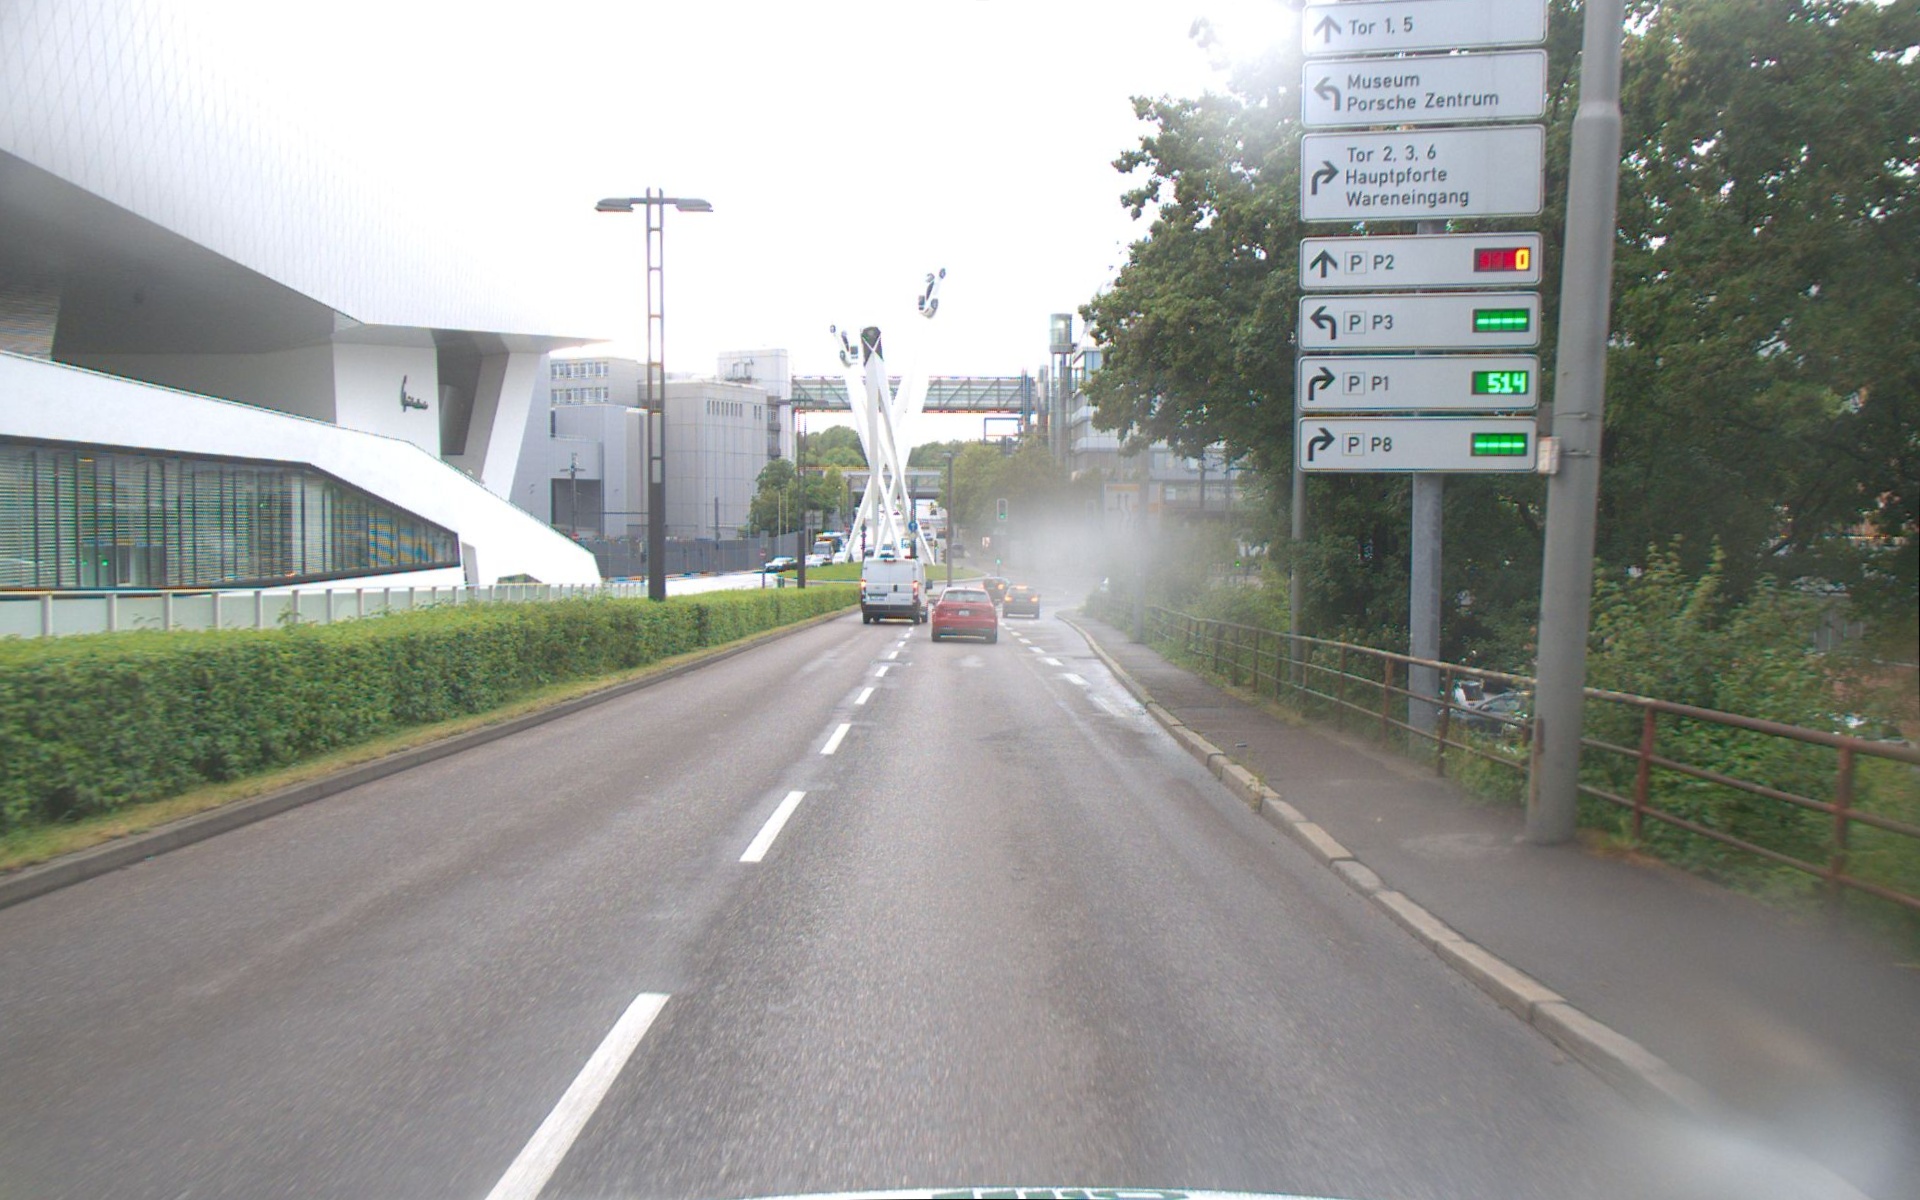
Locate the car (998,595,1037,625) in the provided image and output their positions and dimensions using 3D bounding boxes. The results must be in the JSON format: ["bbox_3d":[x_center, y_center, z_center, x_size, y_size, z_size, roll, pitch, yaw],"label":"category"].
[{"bbox_3d":[2.580,0.425,74.953,1.577,1.313,3.566,1,0,-1],"label":"car"}]

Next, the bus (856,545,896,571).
[{"bbox_3d":[-11.161,-5.592,221.096,2.612,3.256,12.681,1,1,10],"label":"bus"}]

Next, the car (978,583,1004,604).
[{"bbox_3d":[1.931,-0.424,104.871,1.525,1.310,3.413,1,0,-1],"label":"car"}]

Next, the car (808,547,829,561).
[{"bbox_3d":[-15.730,-5.088,184.101,1.795,1.498,4.515,1,1,1],"label":"car"}]

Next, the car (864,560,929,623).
[{"bbox_3d":[-2.212,-0.281,59.040,2.187,2.144,4.953,1,0,-1],"label":"car"}]

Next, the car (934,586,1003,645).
[{"bbox_3d":[0.203,0.396,44.082,1.736,1.490,3.732,1,0,-1],"label":"car"}]

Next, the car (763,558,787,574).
[{"bbox_3d":[-18.355,-3.378,164.104,1.795,1.498,4.515,1,1,1],"label":"car"}]

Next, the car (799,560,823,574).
[{"bbox_3d":[-14.752,-3.241,164.144,1.807,1.361,4.002,1,1,3],"label":"car"}]

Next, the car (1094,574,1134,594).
[{"bbox_3d":[10.892,-1.136,116.709,1.634,1.323,3.884,1,0,24],"label":"car"}]

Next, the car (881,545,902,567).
[{"bbox_3d":[-7.700,-4.971,186.758,1.952,2.489,5.428,0,1,1],"label":"car"}]

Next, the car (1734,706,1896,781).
[{"bbox_3d":[21.911,3.651,42.535,1.667,1.512,3.847,1,1,-11],"label":"car"}]
